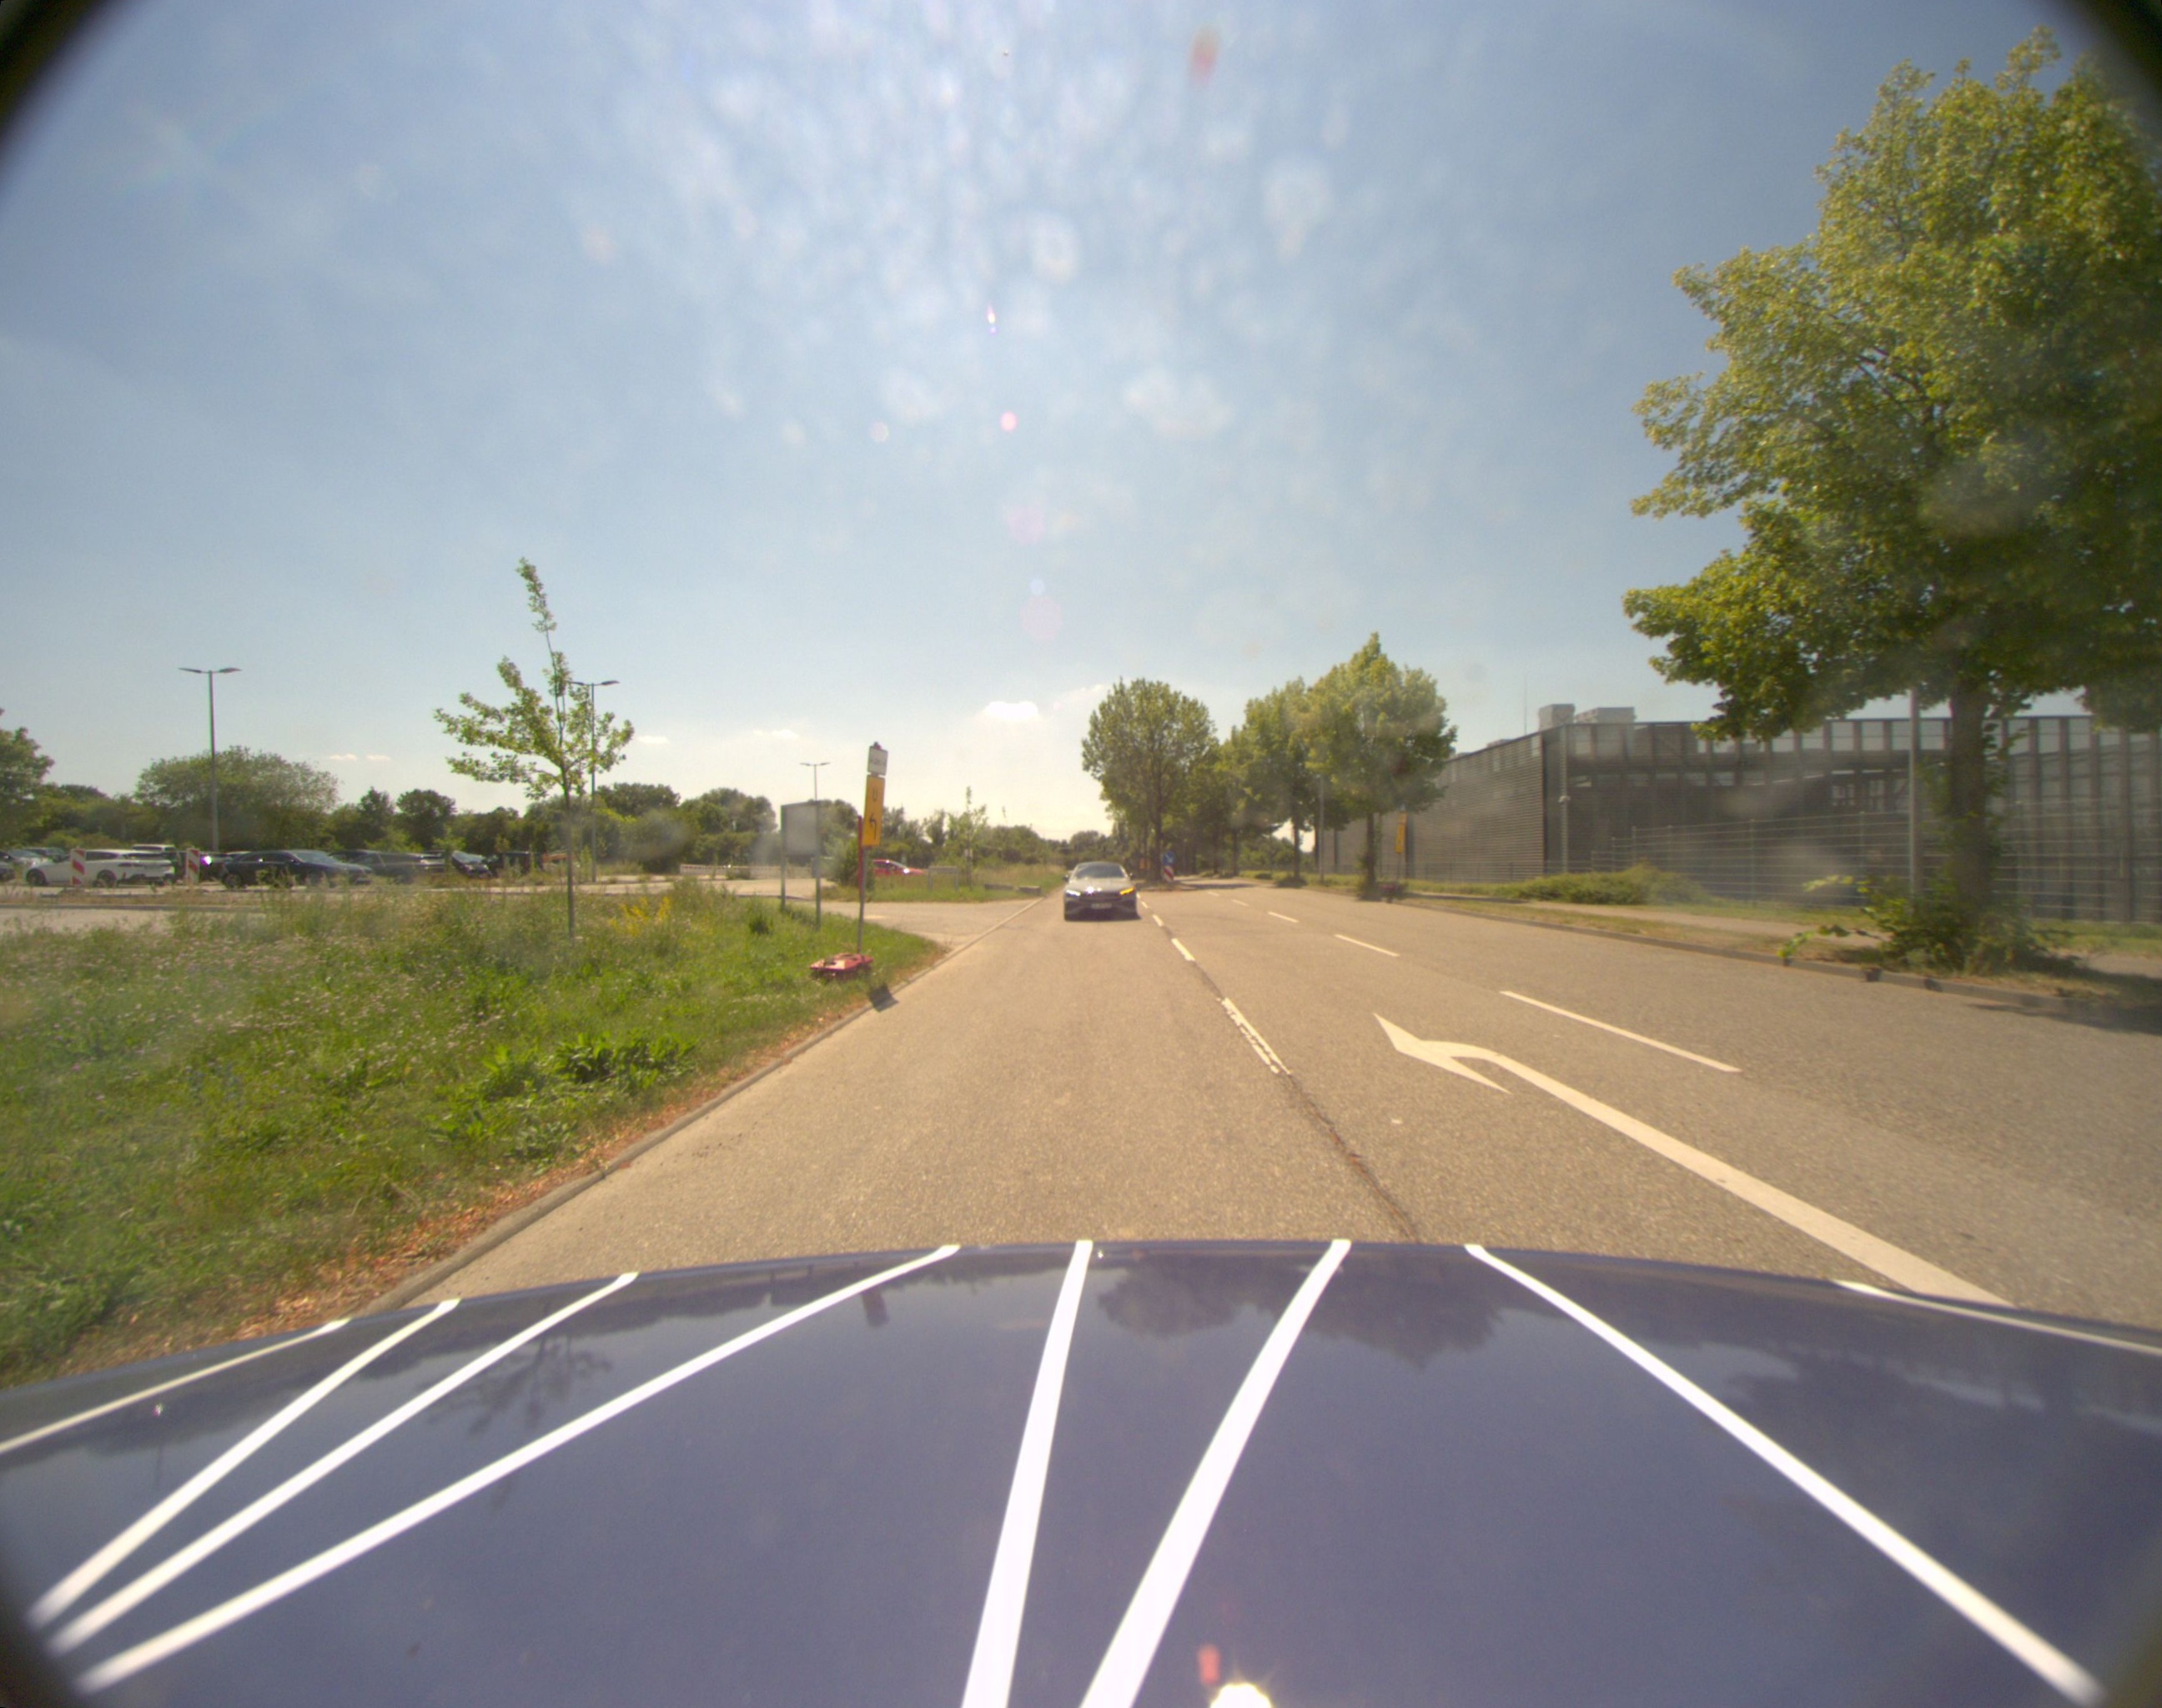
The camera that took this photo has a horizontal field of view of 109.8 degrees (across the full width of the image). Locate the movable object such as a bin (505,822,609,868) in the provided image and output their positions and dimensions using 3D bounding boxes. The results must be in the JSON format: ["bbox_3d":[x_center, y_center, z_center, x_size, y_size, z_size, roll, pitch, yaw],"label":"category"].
[{"bbox_3d":[-51.713,-0.795,75.246,8.122,4.018,2.981,3,-4,-33],"label":"movable object such as a bin"}]

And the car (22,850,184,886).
[{"bbox_3d":[-38.237,0.541,29.782,3.998,1.333,1.696,1,0,-3],"label":"car"}]

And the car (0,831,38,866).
[{"bbox_3d":[-53.449,-0.335,36.225,4.001,1.629,1.999,2,-3,-10],"label":"car"}]

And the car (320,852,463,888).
[{"bbox_3d":[-27.433,0.617,30.315,3.996,1.387,1.927,0,0,2],"label":"car"}]

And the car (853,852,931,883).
[{"bbox_3d":[-10.932,0.773,44.167,3.996,1.713,1.927,0,0,2],"label":"car"}]

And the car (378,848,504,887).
[{"bbox_3d":[-28.241,0.572,33.637,3.996,1.632,1.927,0,0,2],"label":"car"}]

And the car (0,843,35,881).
[{"bbox_3d":[-44.108,0.297,29.660,3.998,1.510,1.696,1,0,-3],"label":"car"}]

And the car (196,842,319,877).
[{"bbox_3d":[-44.276,0.325,40.953,4.001,1.629,1.999,2,-3,-10],"label":"car"}]

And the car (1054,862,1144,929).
[{"bbox_3d":[0.589,0.978,19.811,1.921,1.433,4.484,-3,0,6],"label":"car"}]

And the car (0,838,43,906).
[{"bbox_3d":[-27.373,0.363,17.601,3.997,1.585,1.769,1,-3,-1],"label":"car"}]

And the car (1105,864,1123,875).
[{"bbox_3d":[5.755,2.713,131.834,2.001,1.697,3.860,-3,0,-15],"label":"car"}]

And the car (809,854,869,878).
[{"bbox_3d":[-20.777,1.033,65.460,4.473,1.903,1.940,1,-2,0],"label":"car"}]

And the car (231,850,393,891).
[{"bbox_3d":[-27.875,0.589,27.621,3.996,1.387,1.927,0,0,2],"label":"car"}]

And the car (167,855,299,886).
[{"bbox_3d":[-38.647,0.738,34.704,3.998,1.333,1.696,1,0,-3],"label":"car"}]

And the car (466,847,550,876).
[{"bbox_3d":[-37.108,0.492,49.260,3.997,1.747,1.758,1,-1,-1],"label":"car"}]
